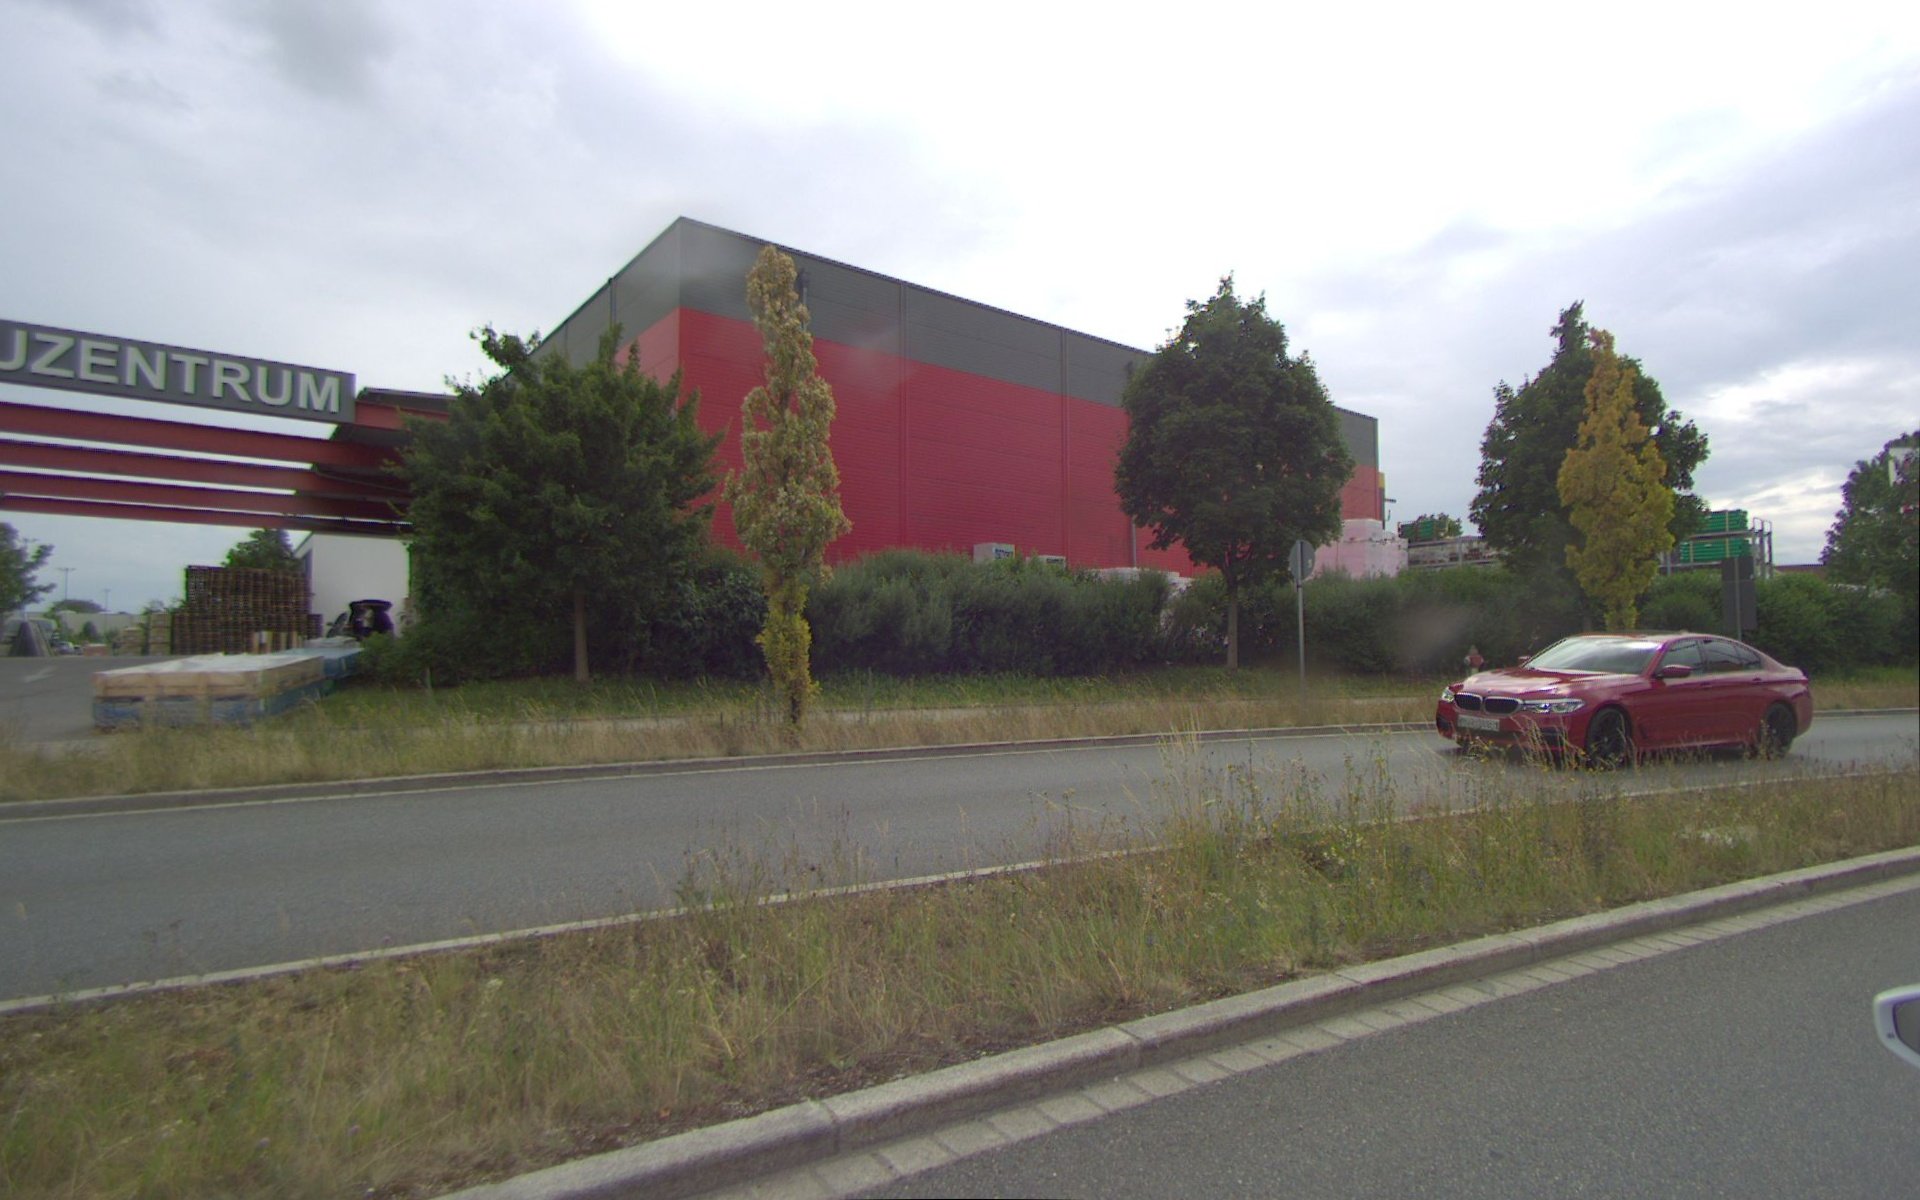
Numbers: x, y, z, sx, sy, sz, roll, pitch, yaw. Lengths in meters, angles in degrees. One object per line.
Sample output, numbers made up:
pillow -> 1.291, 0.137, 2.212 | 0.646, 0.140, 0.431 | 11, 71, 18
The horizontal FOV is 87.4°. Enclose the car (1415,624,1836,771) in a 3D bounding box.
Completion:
car -> 8.036, 1.082, 12.103 | 4.900, 1.466, 1.787 | 1, 0, -22

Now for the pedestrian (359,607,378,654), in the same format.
pedestrian -> -22.501, 1.149, 38.194 | 0.558, 1.776, 0.477 | 2, -2, -36

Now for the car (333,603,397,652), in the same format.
car -> -23.909, 1.114, 40.323 | 1.793, 1.872, 3.959 | 2, -2, -36
